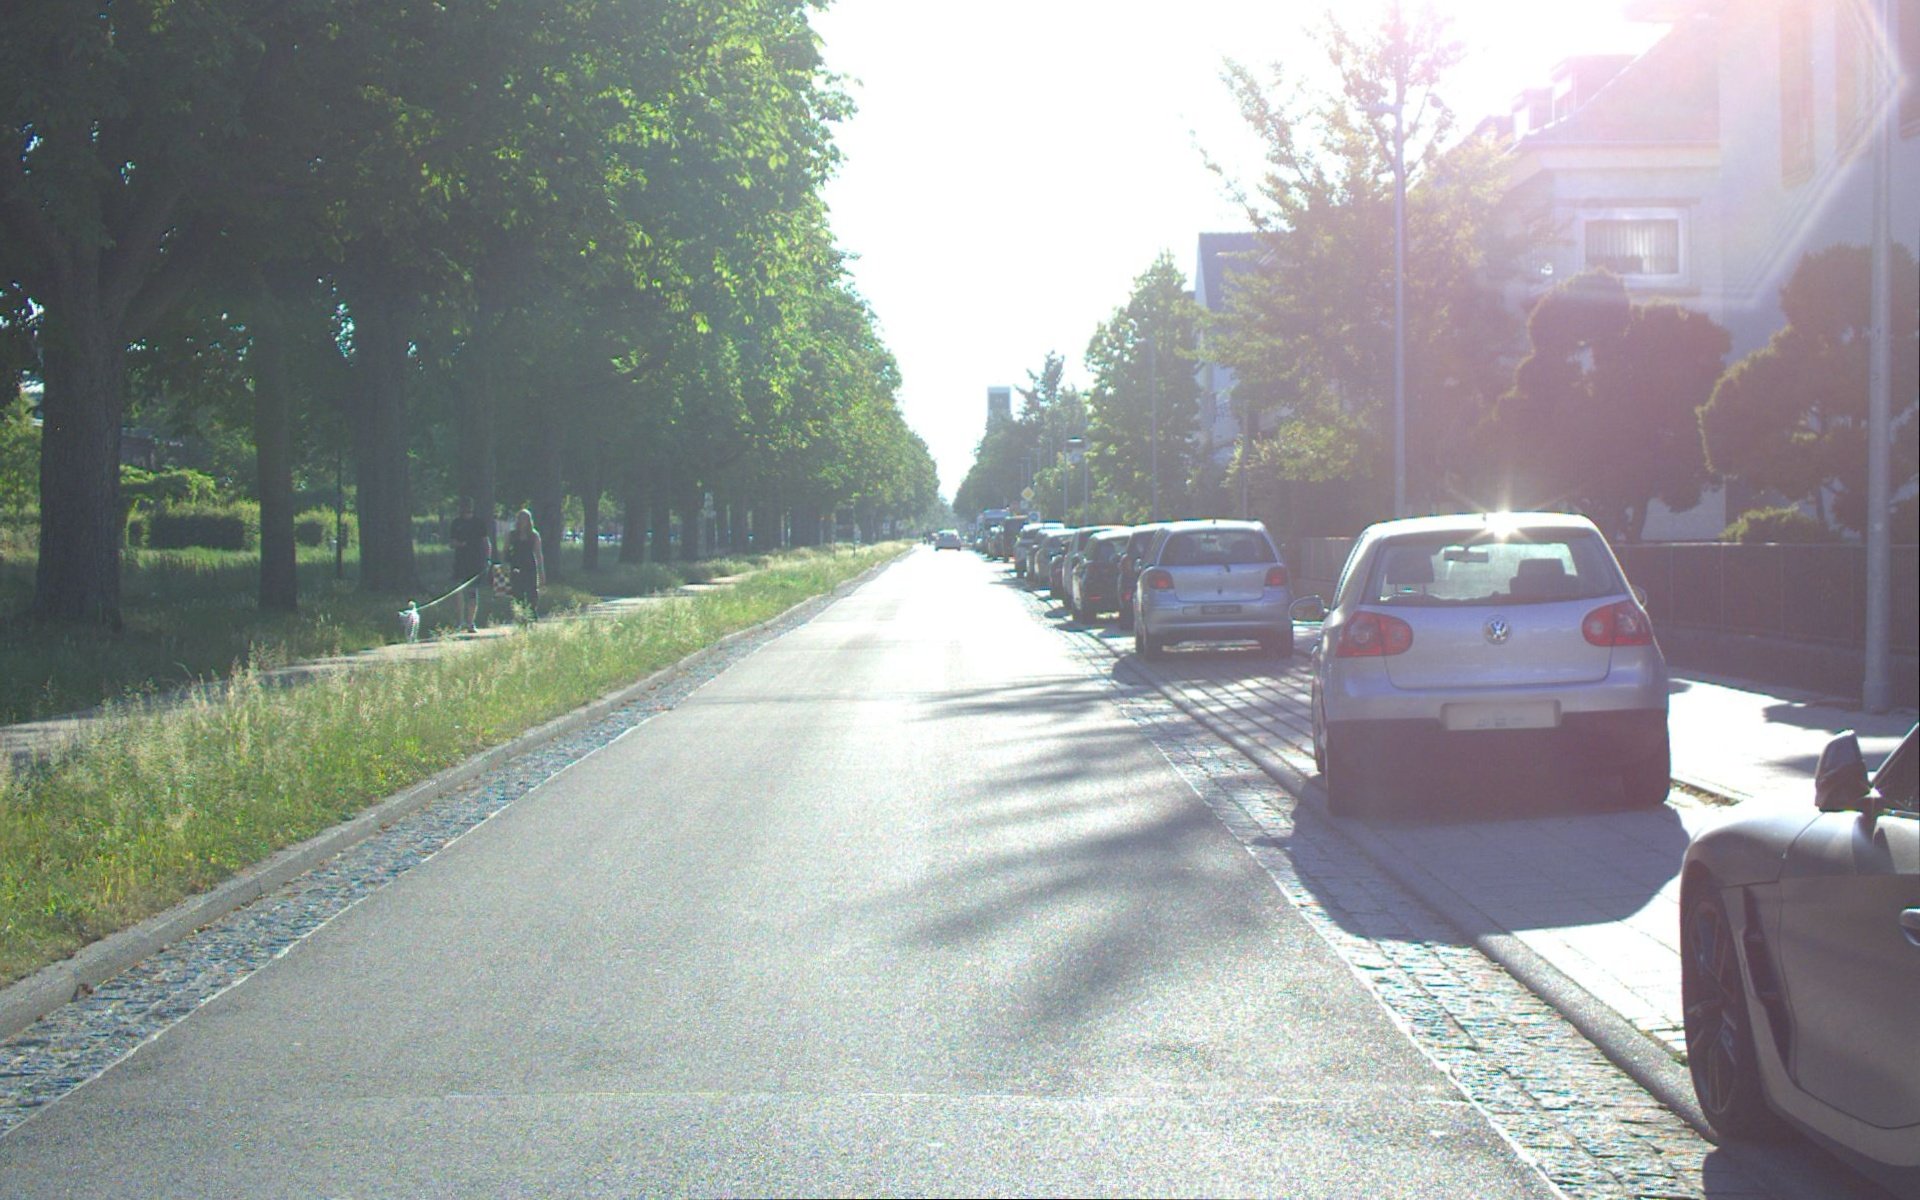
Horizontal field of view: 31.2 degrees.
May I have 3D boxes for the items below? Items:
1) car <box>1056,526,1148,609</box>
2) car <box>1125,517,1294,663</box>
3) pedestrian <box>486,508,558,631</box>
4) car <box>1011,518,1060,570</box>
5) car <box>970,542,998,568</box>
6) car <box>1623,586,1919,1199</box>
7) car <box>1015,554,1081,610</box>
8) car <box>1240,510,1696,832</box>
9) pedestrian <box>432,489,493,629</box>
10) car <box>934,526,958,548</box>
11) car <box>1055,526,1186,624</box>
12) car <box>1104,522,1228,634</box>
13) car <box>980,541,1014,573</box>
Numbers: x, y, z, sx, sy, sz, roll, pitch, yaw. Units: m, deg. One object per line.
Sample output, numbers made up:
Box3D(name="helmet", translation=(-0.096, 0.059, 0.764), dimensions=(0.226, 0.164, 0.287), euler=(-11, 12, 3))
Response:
Box3D(name="car", translation=(2.643, -0.617, 64.557), dimensions=(1.592, 1.504, 3.591), euler=(0, 1, 1))
Box3D(name="car", translation=(2.753, -0.148, 38.551), dimensions=(1.628, 1.499, 3.633), euler=(-2, 1, 1))
Box3D(name="pedestrian", translation=(-5.796, -0.407, 45.524), dimensions=(0.783, 1.609, 0.952), euler=(0, 1, 3))
Box3D(name="car", translation=(2.332, -1.739, 106.597), dimensions=(1.498, 1.561, 3.266), euler=(0, 1, 1))
Box3D(name="car", translation=(1.510, -2.789, 212.537), dimensions=(1.652, 1.536, 3.266), euler=(1, 1, 1))
Box3D(name="car", translation=(2.690, 0.664, 7.138), dimensions=(1.774, 1.284, 4.273), euler=(-3, 2, 0))
Box3D(name="car", translation=(2.223, -0.467, 87.473), dimensions=(1.652, 1.391, 3.266), euler=(0, 1, 1))
Box3D(name="car", translation=(2.623, 0.308, 18.614), dimensions=(1.744, 1.469, 3.922), euler=(-3, 1, -1))
Box3D(name="pedestrian", translation=(-6.560, -0.544, 45.337), dimensions=(0.624, 1.824, 0.886), euler=(0, 1, 3))
Box3D(name="car", translation=(-0.992, -4.382, 239.826), dimensions=(1.652, 1.536, 3.267), euler=(1, 1, 0))
Box3D(name="car", translation=(2.508, -0.395, 54.551), dimensions=(1.736, 1.444, 4.197), euler=(-2, 0, -1))
Box3D(name="car", translation=(2.934, -0.317, 48.830), dimensions=(1.658, 1.489, 3.715), euler=(-2, 1, 4))
Box3D(name="car", translation=(1.824, -2.124, 168.449), dimensions=(1.652, 1.536, 3.266), euler=(1, 1, 1))
